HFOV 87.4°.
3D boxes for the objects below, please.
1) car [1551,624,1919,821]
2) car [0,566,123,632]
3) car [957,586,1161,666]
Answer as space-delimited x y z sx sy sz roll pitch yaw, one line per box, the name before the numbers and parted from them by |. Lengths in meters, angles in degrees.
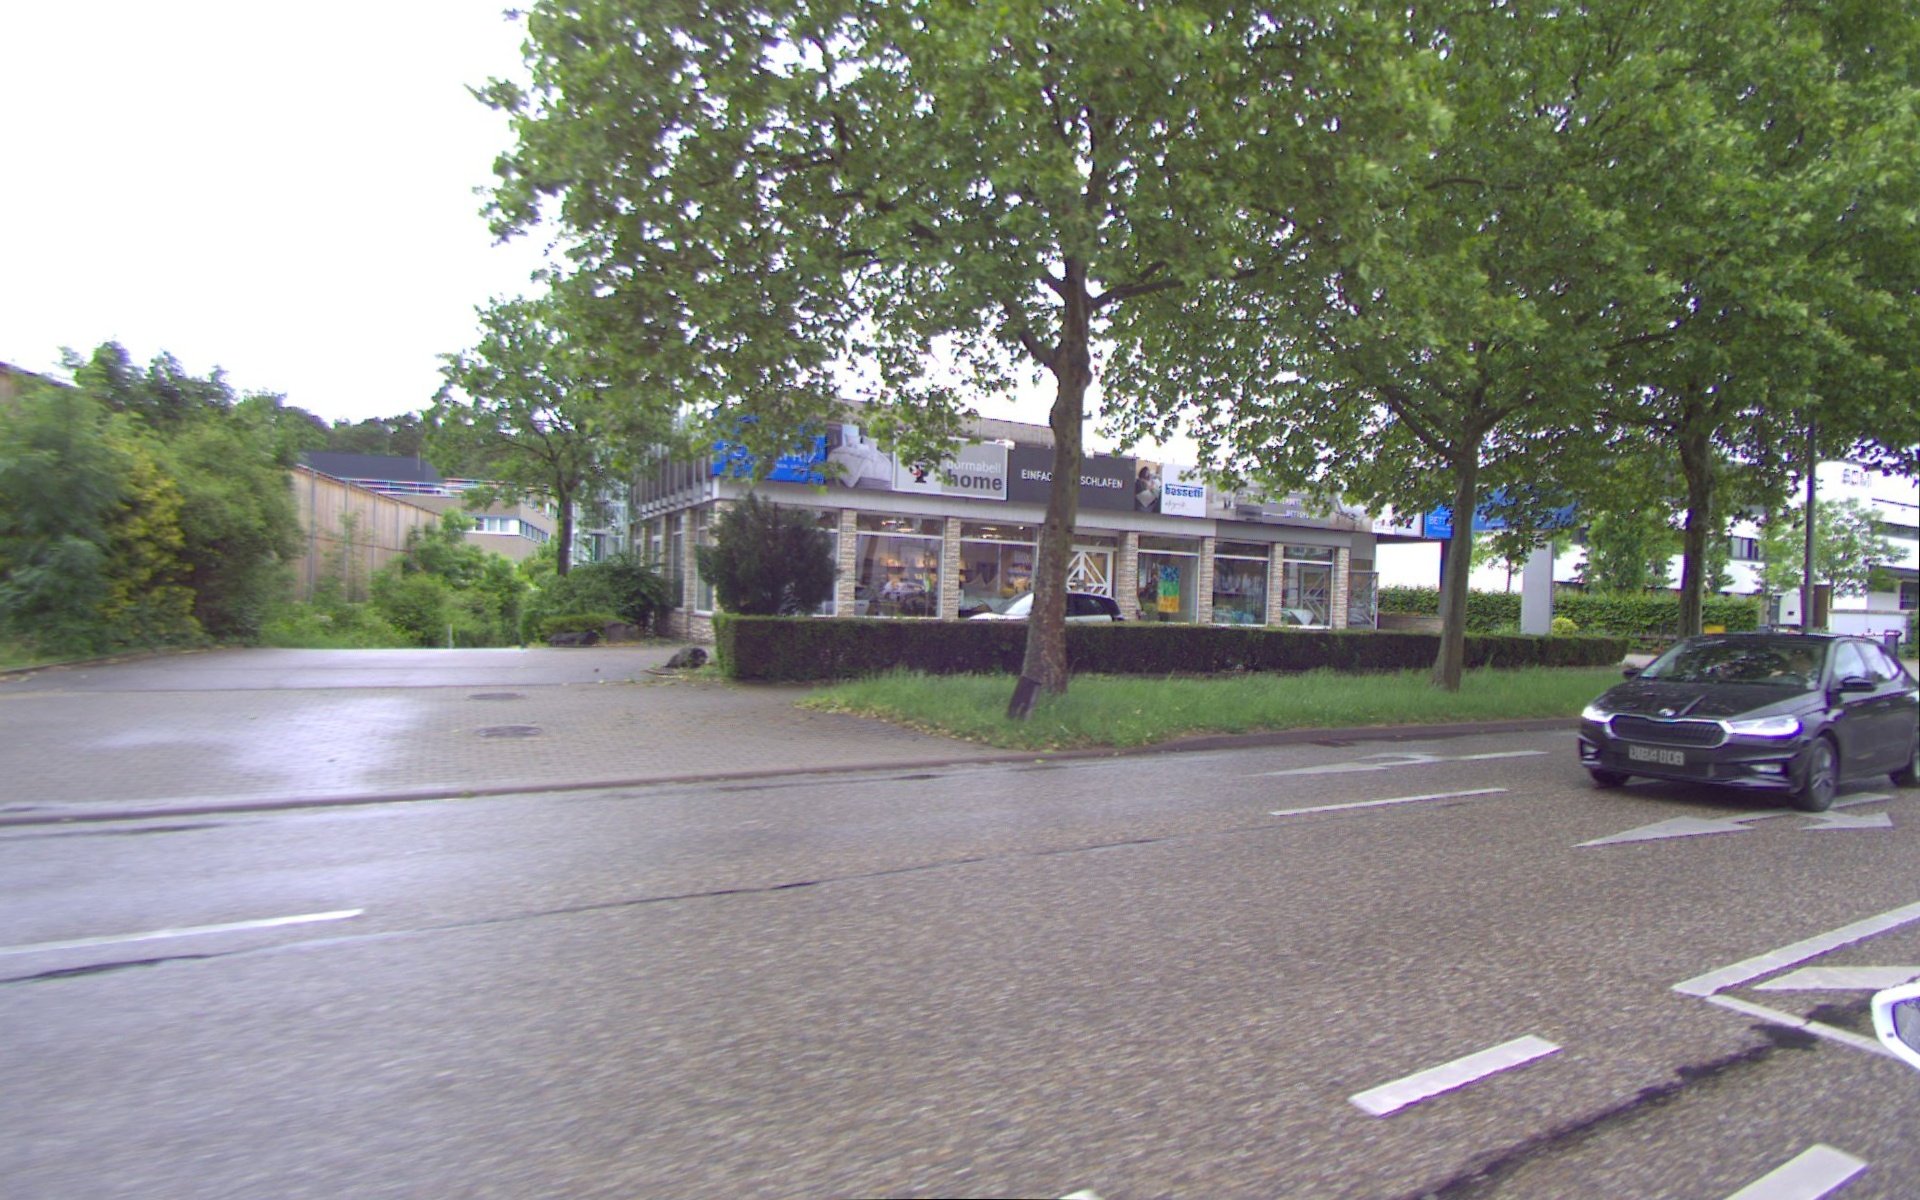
car | 7.482 0.993 9.441 3.803 1.482 1.794 2 -1 -32
car | -21.277 -0.038 21.871 4.246 1.383 1.864 1 0 -17
car | 2.065 0.537 20.747 3.894 1.506 1.814 1 -1 -30
